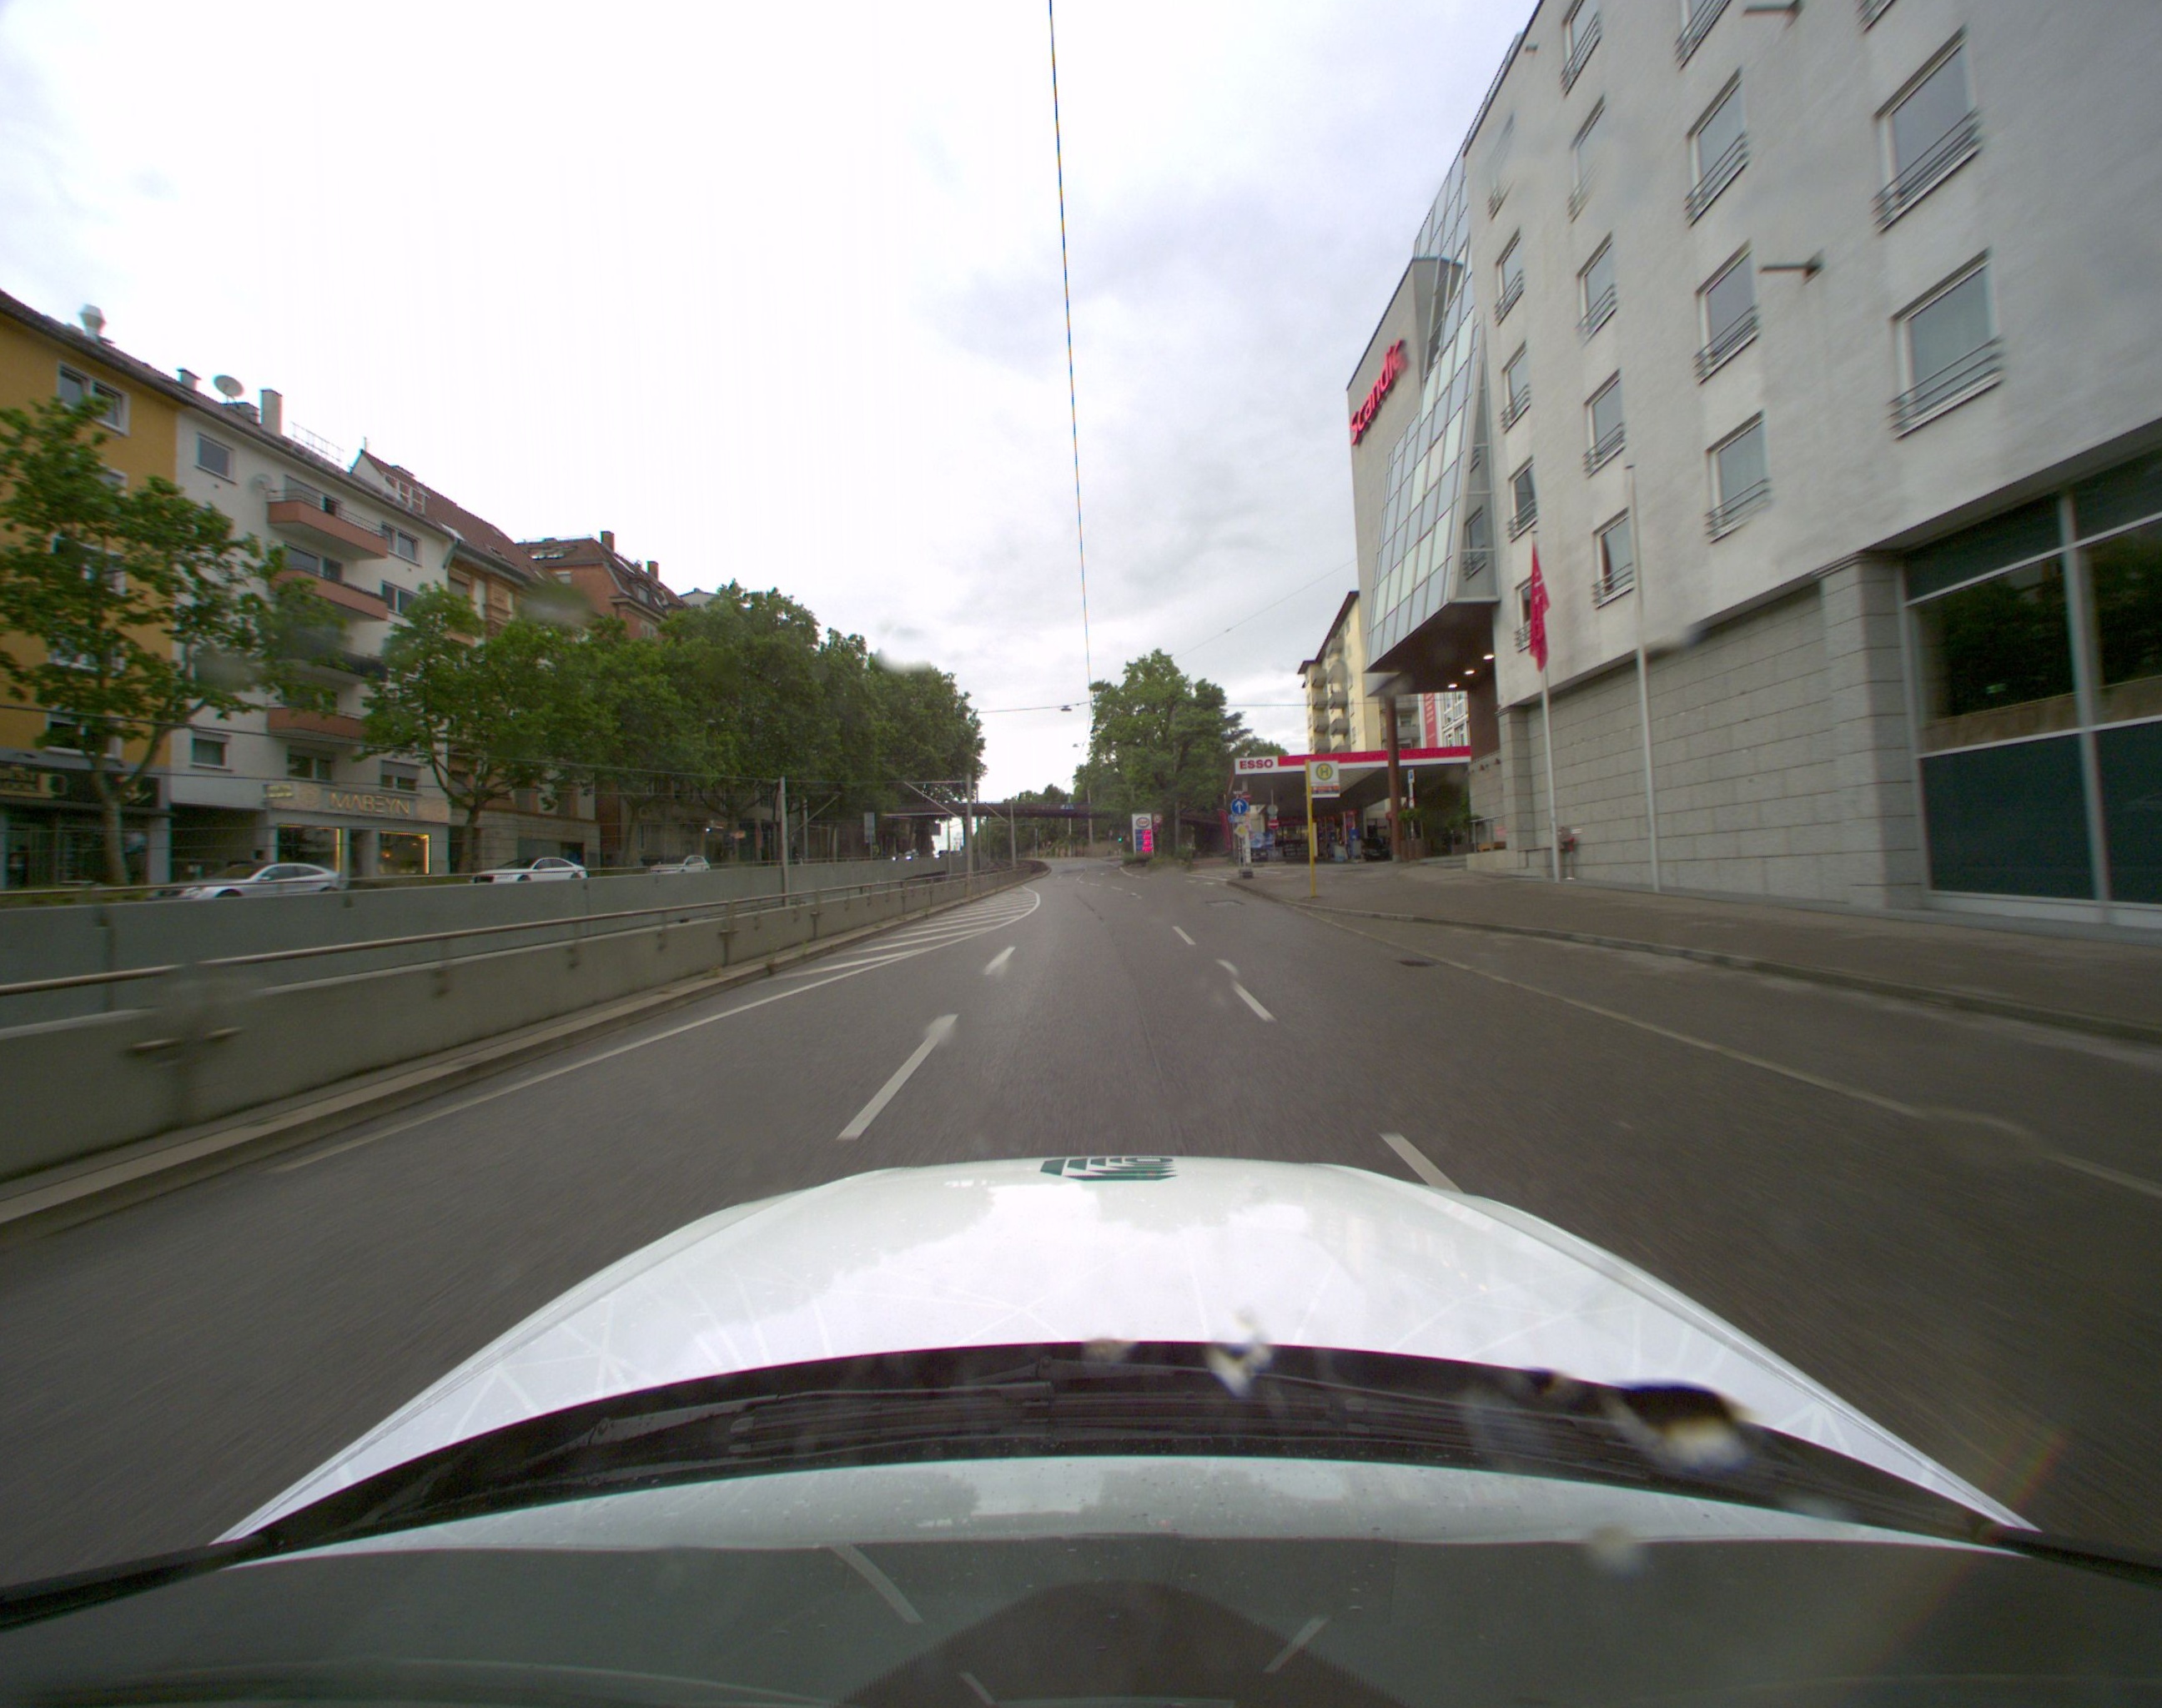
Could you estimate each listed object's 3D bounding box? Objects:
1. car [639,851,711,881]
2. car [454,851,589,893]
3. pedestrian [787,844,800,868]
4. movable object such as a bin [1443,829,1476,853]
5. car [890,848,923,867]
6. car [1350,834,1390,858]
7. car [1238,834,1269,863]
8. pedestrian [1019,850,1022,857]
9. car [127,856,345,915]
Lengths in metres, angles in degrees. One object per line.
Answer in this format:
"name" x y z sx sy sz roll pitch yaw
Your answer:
"car" -22.636 0.641 45.586 1.787 1.611 4.114 -1 0 2
"car" -23.451 0.707 34.455 1.919 1.601 5.203 -1 0 3
"pedestrian" -23.984 0.147 67.896 0.666 2.014 0.936 0 -1 5
"movable object such as a bin" 23.801 -0.793 51.256 1.156 1.425 2.513 -2 0 7
"car" -17.274 0.327 80.820 1.948 1.852 4.973 -1 0 4
"car" 19.330 -0.496 54.600 1.784 1.510 4.009 0 -1 8
"car" 10.930 -0.343 51.813 1.761 1.623 3.878 -4 -1 11
"pedestrian" -14.629 -0.211 197.379 0.720 1.687 0.726 -1 -1 -11
"car" -24.199 0.828 23.594 1.786 1.510 4.211 -1 0 3
